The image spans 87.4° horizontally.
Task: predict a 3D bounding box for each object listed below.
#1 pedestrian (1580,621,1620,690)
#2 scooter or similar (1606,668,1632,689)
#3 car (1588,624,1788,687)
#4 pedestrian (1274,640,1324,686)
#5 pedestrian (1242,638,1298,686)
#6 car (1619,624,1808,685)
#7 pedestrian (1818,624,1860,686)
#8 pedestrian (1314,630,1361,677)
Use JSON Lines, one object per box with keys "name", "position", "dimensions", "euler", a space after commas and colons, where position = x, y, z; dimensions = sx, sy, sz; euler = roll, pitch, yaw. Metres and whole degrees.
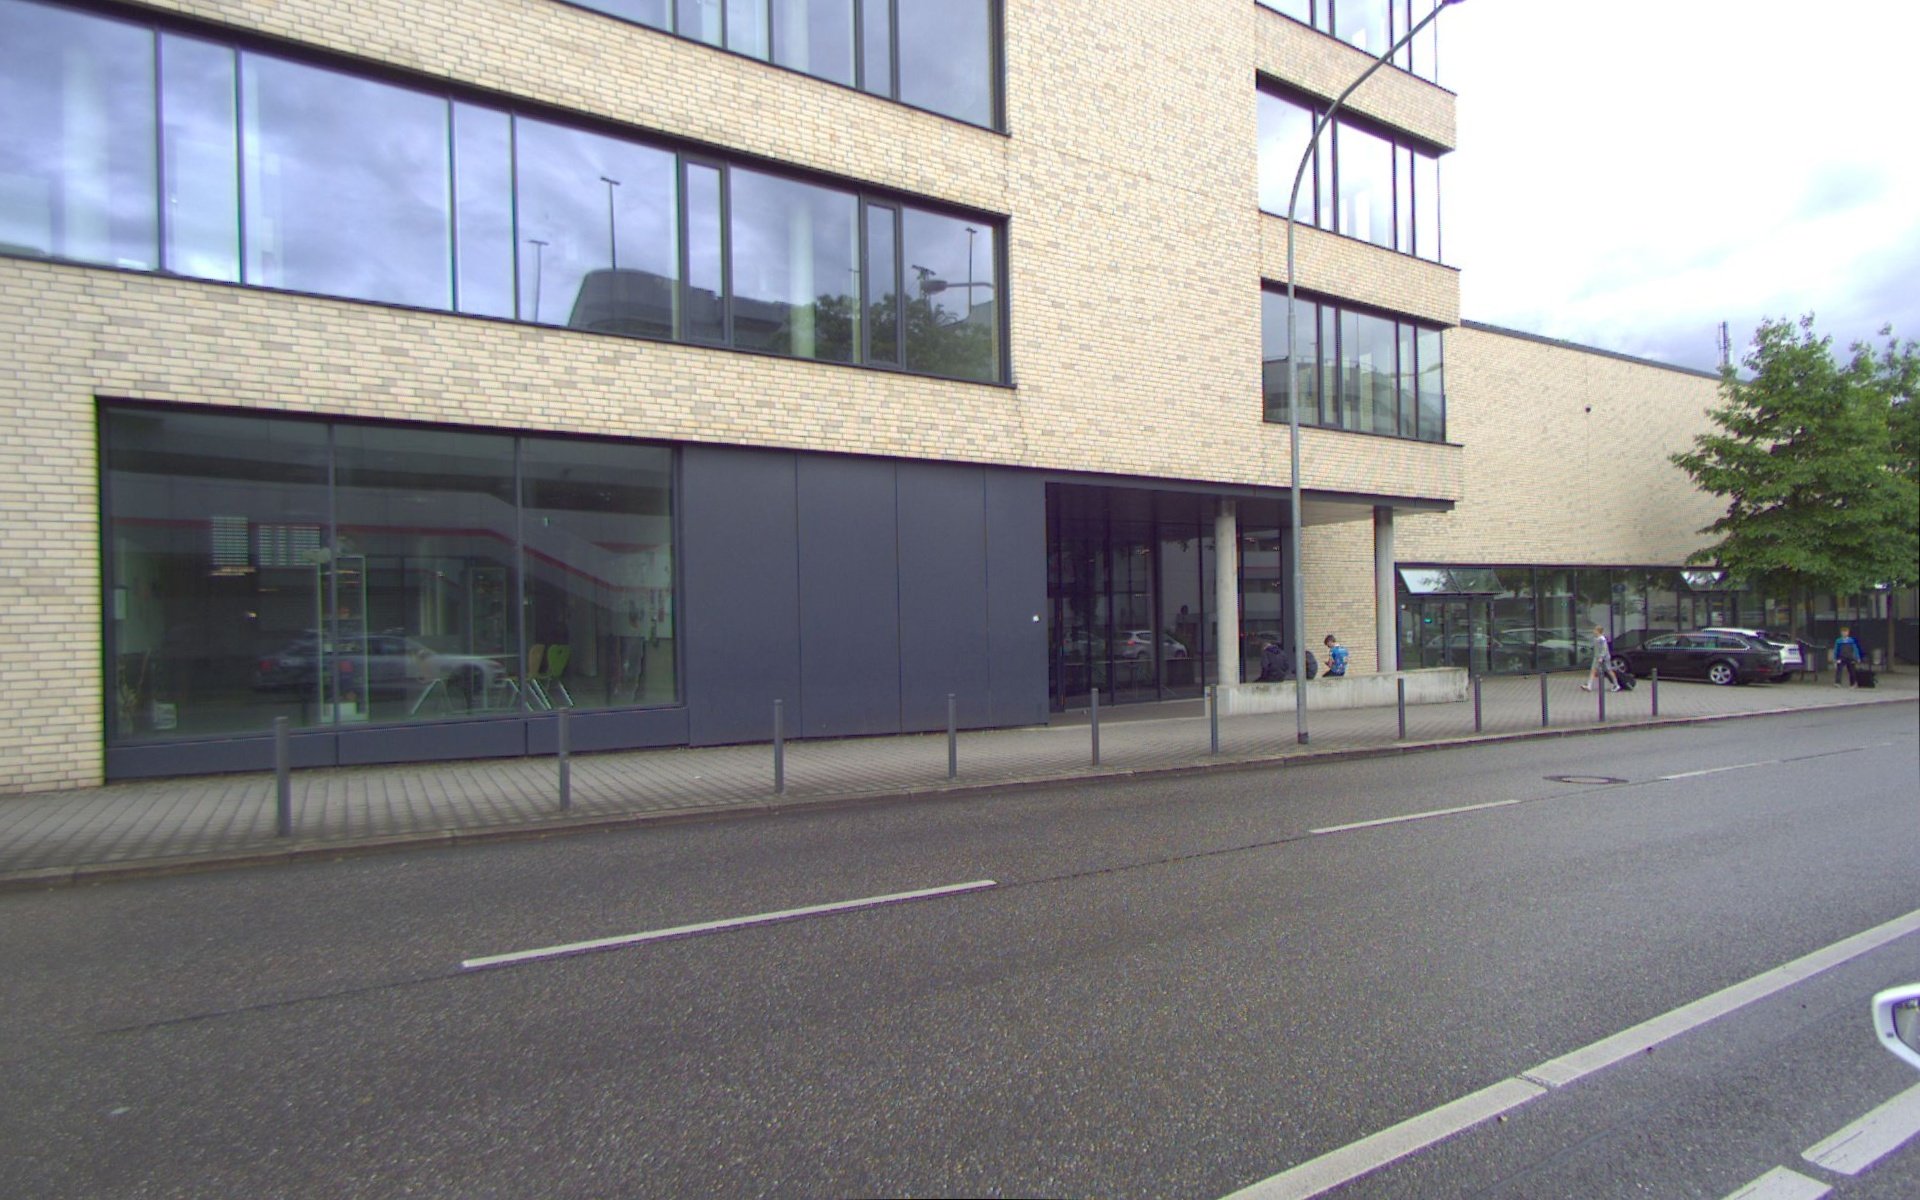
{"name": "pedestrian", "position": [16.244, 1.396, 25.505], "dimensions": [0.473, 1.720, 0.672], "euler": [1, 0, -30]}
{"name": "scooter or similar", "position": [16.818, 2.006, 25.632], "dimensions": [0.608, 0.507, 0.278], "euler": [2, 0, -29]}
{"name": "car", "position": [21.400, 1.568, 29.696], "dimensions": [1.981, 1.608, 4.437], "euler": [1, -1, -36]}
{"name": "pedestrian", "position": [6.574, 1.210, 19.494], "dimensions": [0.719, 0.856, 0.583], "euler": [2, -1, -30]}
{"name": "pedestrian", "position": [5.867, 1.165, 19.007], "dimensions": [0.752, 0.796, 0.595], "euler": [9, -4, -30]}
{"name": "car", "position": [23.530, 1.640, 31.519], "dimensions": [1.980, 1.595, 4.388], "euler": [-1, 1, -35]}
{"name": "pedestrian", "position": [25.279, 1.566, 28.890], "dimensions": [0.745, 1.748, 0.685], "euler": [0, 1, -31]}
{"name": "pedestrian", "position": [7.536, 1.056, 20.065], "dimensions": [0.519, 0.897, 0.676], "euler": [2, 0, -36]}
